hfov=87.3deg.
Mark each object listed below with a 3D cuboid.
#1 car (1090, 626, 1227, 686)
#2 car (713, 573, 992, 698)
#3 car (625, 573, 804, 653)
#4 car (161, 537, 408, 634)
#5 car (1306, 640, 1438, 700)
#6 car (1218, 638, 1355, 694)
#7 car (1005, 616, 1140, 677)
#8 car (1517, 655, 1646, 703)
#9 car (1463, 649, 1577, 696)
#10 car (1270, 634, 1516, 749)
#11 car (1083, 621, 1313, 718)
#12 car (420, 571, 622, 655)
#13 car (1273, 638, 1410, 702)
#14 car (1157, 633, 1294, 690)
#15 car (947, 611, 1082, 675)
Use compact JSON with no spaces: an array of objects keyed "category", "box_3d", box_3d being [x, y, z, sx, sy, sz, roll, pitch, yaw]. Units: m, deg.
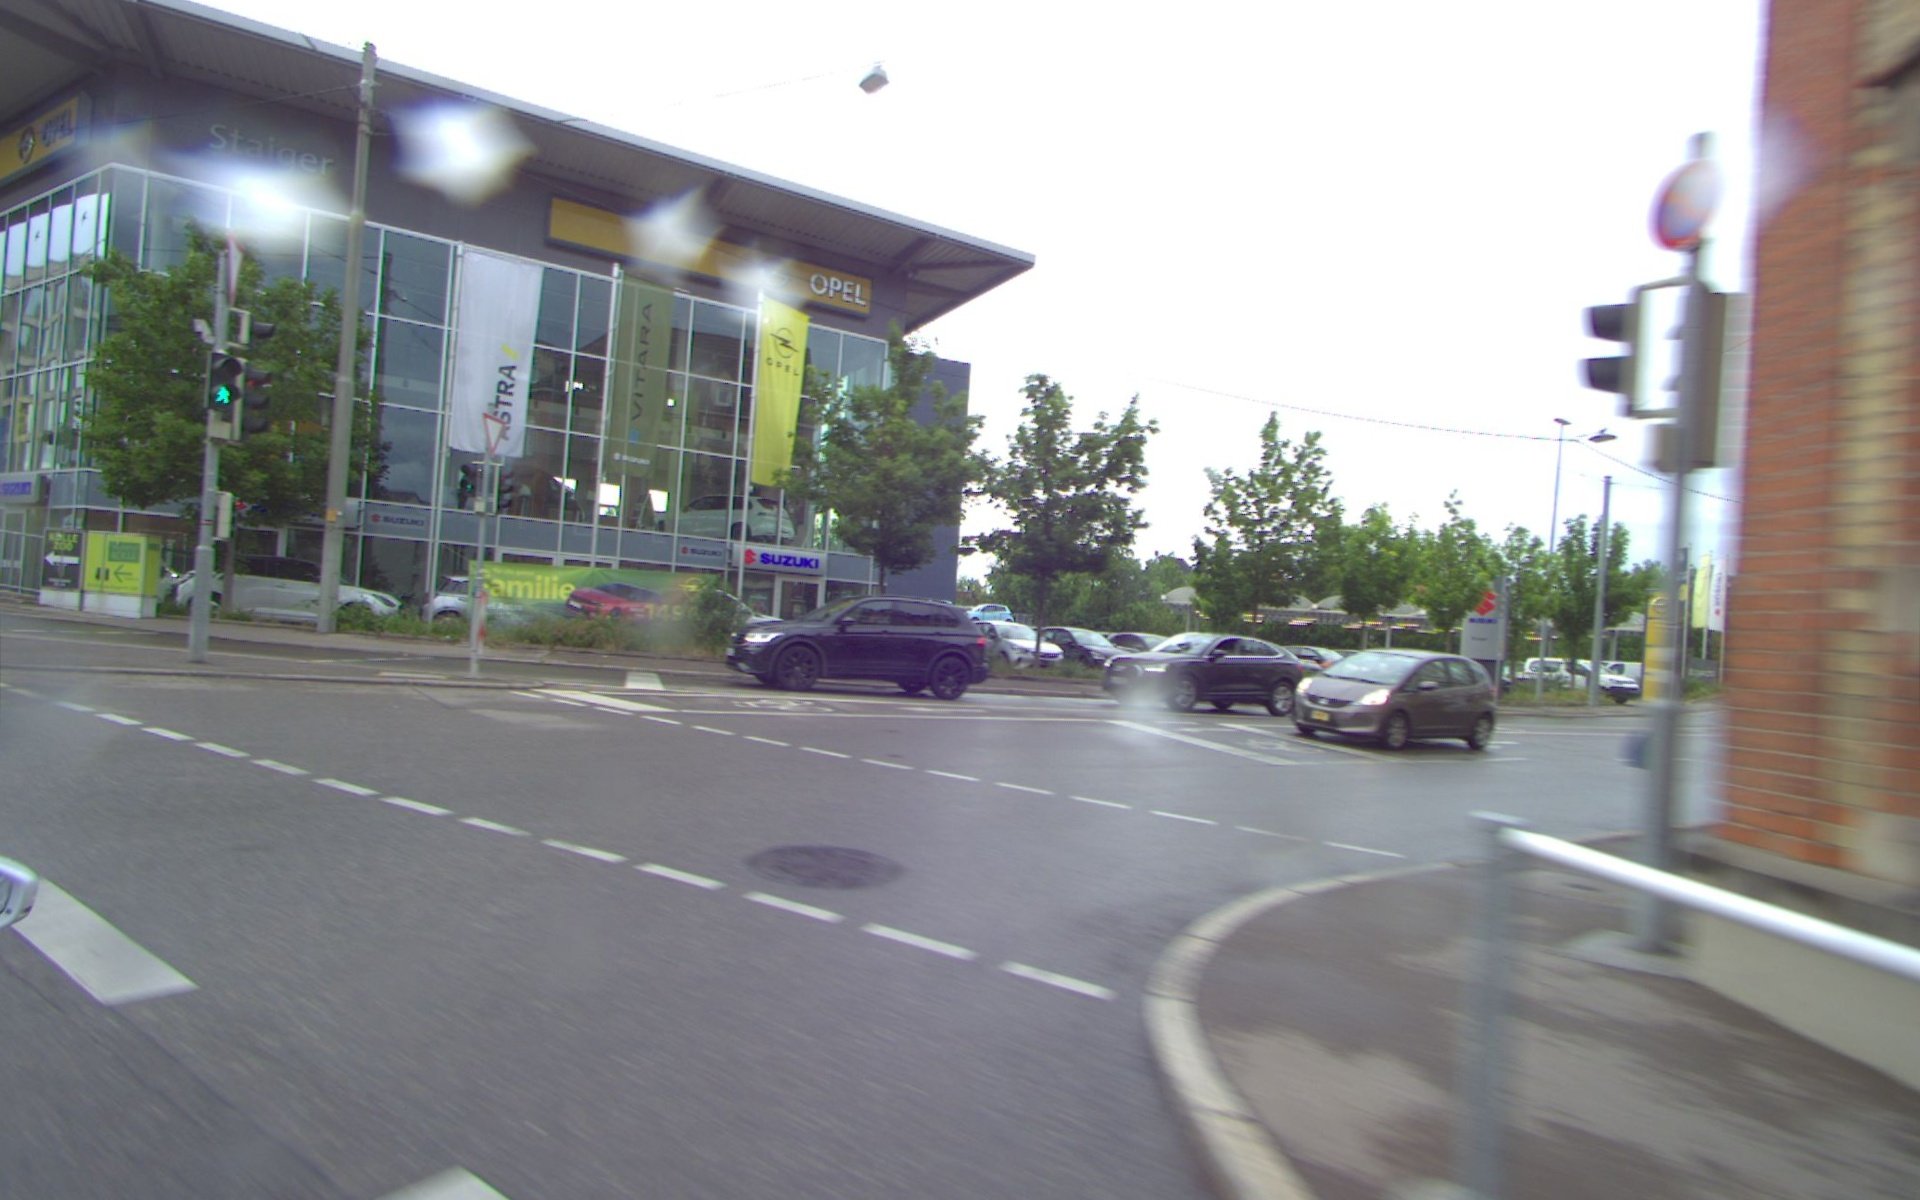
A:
[{"category":"car","box_3d":[5.776,1.614,29.751,1.704,1.324,3.970,5,0,-30]},{"category":"car","box_3d":[-1.791,0.600,16.822,4.198,1.683,1.795,6,0,-24]},{"category":"car","box_3d":[-6.110,0.350,25.032,3.950,1.611,1.815,5,-2,-27]},{"category":"car","box_3d":[-13.663,-0.214,20.634,3.957,1.525,1.885,6,-4,-31]},{"category":"car","box_3d":[14.383,2.429,35.318,1.704,1.616,3.970,5,0,-30]},{"category":"car","box_3d":[10.308,2.070,32.079,1.704,1.324,3.970,5,0,-30]},{"category":"car","box_3d":[3.089,1.282,28.470,1.704,1.300,3.970,5,0,-30]},{"category":"car","box_3d":[26.532,3.354,43.100,1.704,1.509,4.345,5,0,-30]},{"category":"car","box_3d":[23.474,3.032,42.291,1.704,1.509,3.784,5,0,-30]},{"category":"car","box_3d":[7.061,1.486,16.288,3.963,1.472,1.825,5,1,-37]},{"category":"car","box_3d":[4.705,1.371,19.783,4.205,1.523,1.792,6,-1,-29]},{"category":"car","box_3d":[-9.893,0.324,22.785,3.950,1.548,1.815,5,-2,-27]},{"category":"car","box_3d":[12.560,2.287,33.347,1.704,1.616,3.970,5,0,-30]},{"category":"car","box_3d":[8.040,1.854,30.823,1.704,1.265,3.970,5,0,-30]},{"category":"car","box_3d":[1.392,1.120,27.218,1.704,1.289,3.970,5,0,-30]}]
